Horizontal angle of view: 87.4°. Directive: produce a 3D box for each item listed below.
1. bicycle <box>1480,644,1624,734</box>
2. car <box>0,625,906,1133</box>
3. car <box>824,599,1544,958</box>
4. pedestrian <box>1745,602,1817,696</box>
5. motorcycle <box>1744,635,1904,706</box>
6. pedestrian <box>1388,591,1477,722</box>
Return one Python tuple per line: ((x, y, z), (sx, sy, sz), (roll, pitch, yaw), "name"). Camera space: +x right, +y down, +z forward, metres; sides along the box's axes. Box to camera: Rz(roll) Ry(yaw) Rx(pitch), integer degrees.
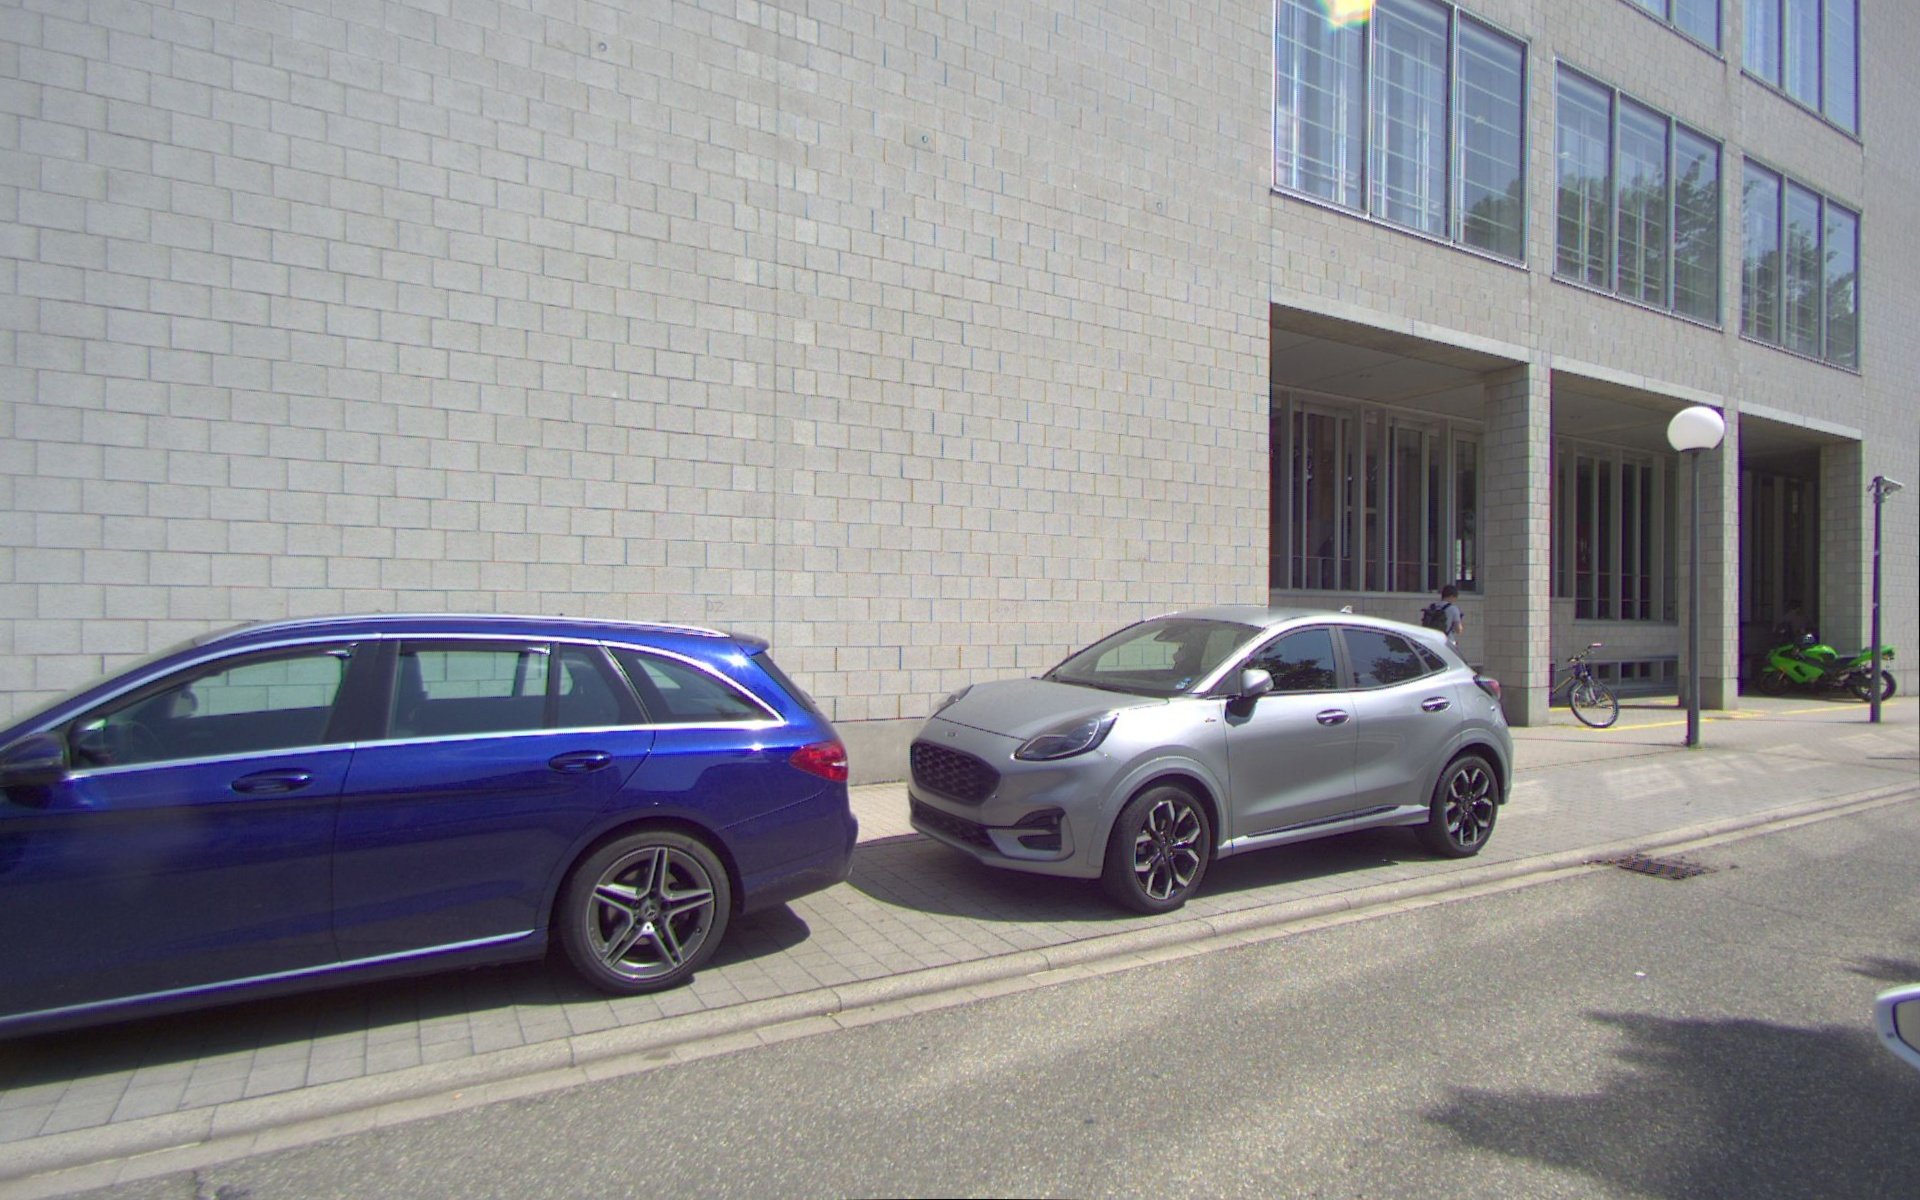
((8.186, 1.200, 13.956), (0.602, 1.101, 1.628), (1, 0, -35), "bicycle")
((-2.648, 0.832, 3.964), (4.609, 1.442, 1.718), (1, -1, -30), "car")
((1.519, 0.842, 6.267), (4.354, 1.555, 1.718), (2, 0, -30), "car")
((16.507, 0.975, 20.203), (0.913, 1.828, 0.799), (0, -3, -30), "pedestrian")
((15.957, 1.264, 18.609), (0.768, 1.153, 2.148), (1, 0, -39), "motorcycle")
((6.966, 0.810, 14.810), (1.002, 1.863, 0.773), (1, -1, -31), "pedestrian")
